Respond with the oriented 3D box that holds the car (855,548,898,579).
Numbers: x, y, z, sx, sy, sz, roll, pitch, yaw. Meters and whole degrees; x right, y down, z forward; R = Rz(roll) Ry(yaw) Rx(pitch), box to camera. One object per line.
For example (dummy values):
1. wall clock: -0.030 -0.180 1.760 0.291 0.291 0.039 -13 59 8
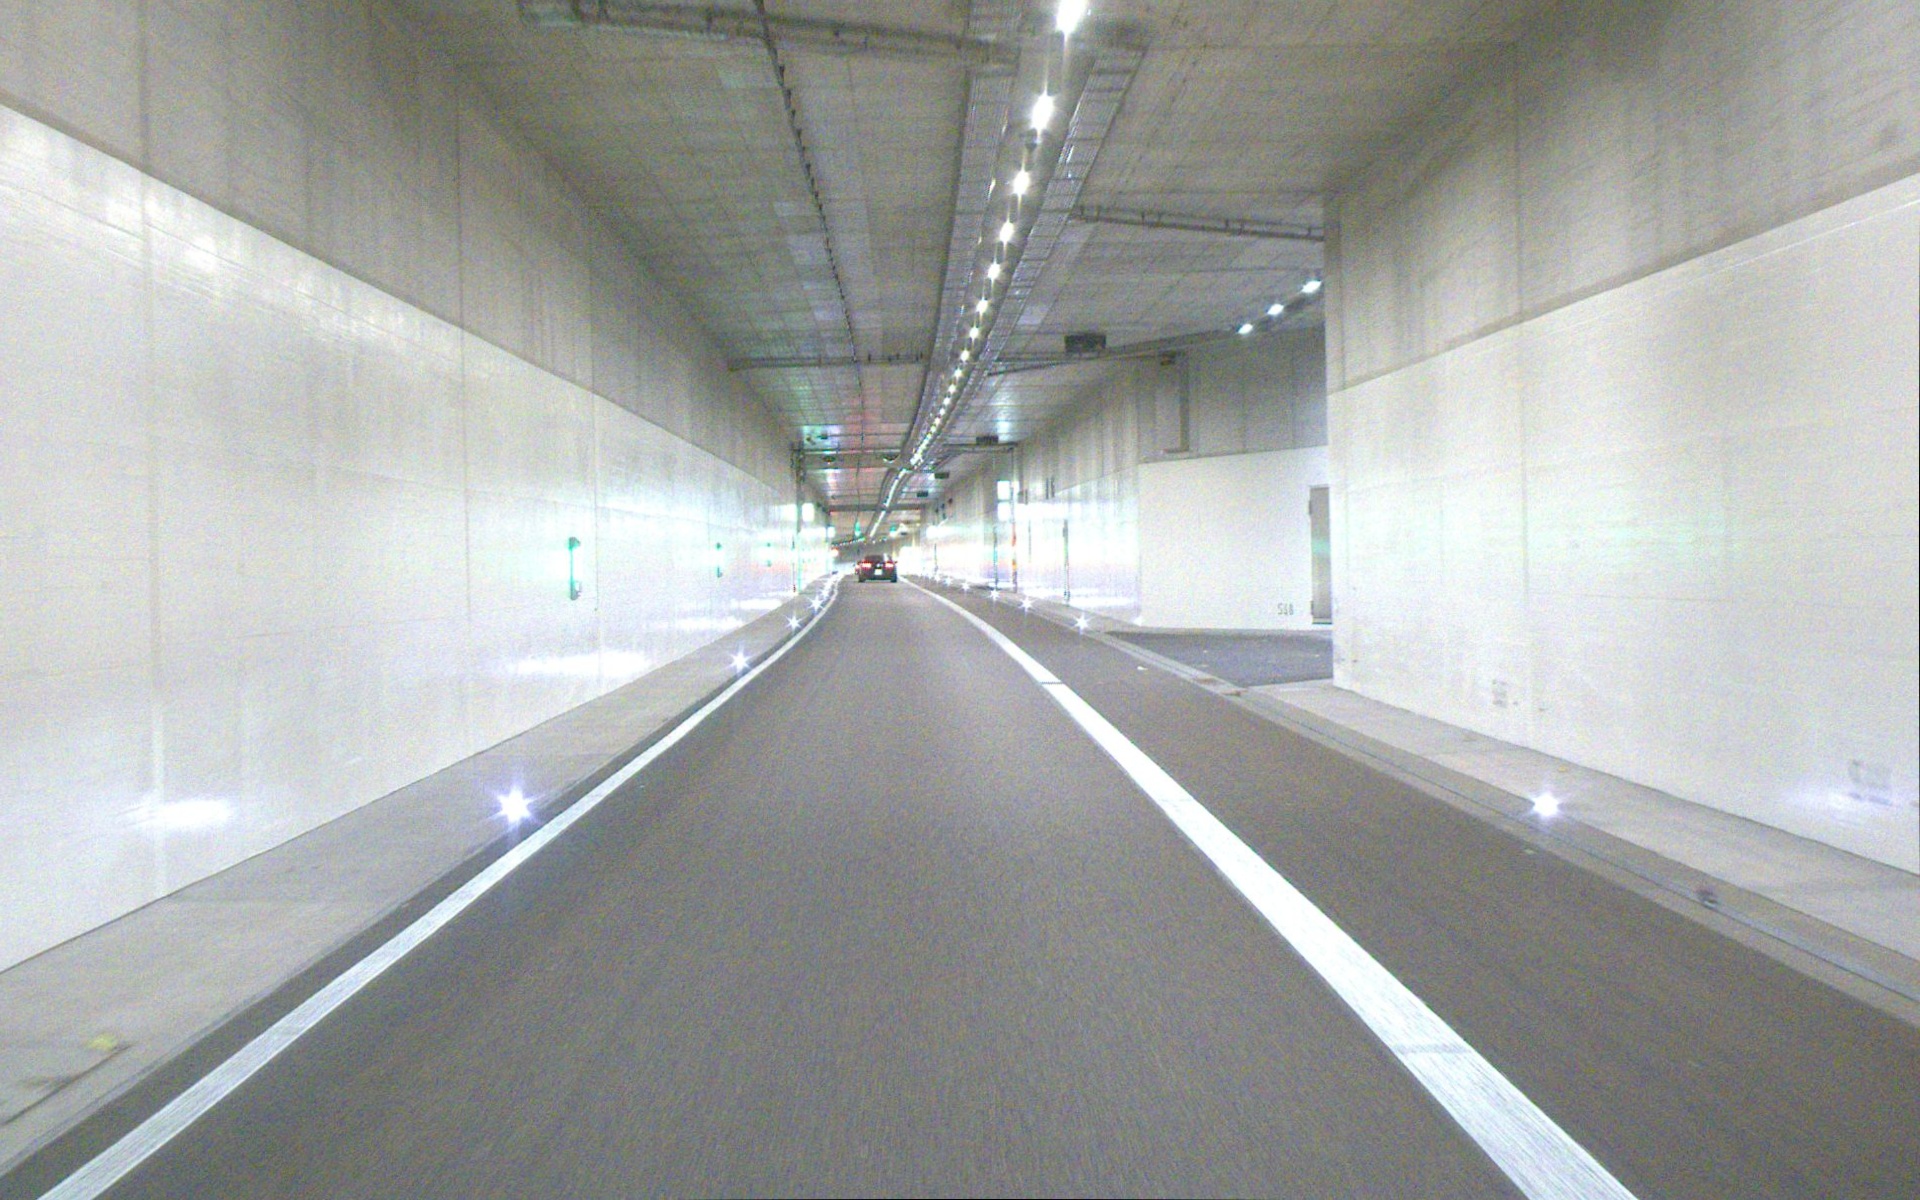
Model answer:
1. car: -4.142 -1.812 169.321 1.993 1.415 4.000 -4 1 -2
